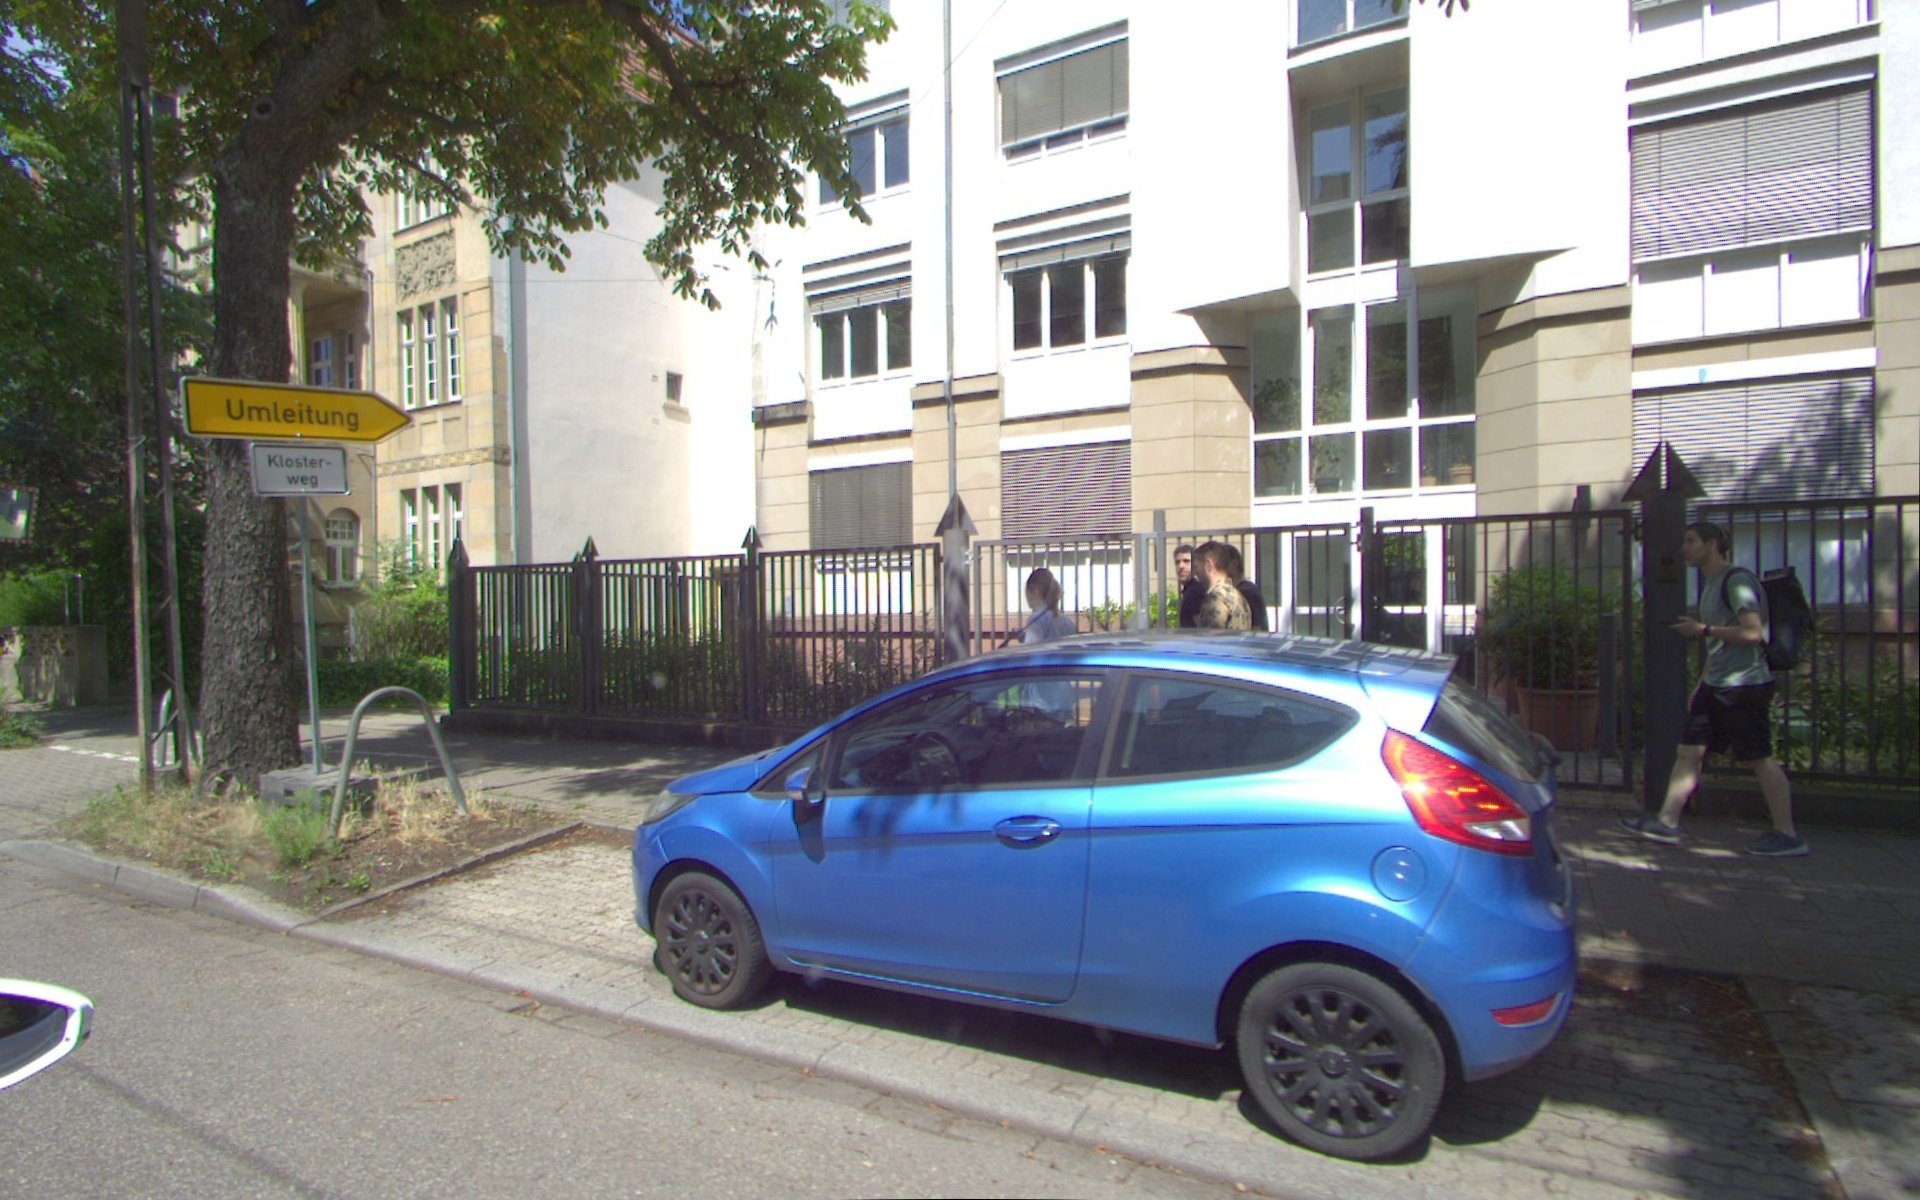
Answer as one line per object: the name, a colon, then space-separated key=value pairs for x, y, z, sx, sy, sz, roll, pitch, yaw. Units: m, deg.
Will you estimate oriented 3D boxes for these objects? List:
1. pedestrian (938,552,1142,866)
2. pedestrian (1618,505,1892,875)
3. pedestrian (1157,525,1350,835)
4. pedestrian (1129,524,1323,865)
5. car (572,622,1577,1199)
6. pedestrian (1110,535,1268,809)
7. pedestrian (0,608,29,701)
pedestrian: x=0.481 y=0.589 z=5.912 sx=0.959 sy=1.673 sz=0.765 roll=0 pitch=0 yaw=31
pedestrian: x=4.285 y=0.451 z=5.492 sx=1.067 sy=1.821 sz=0.683 roll=0 pitch=0 yaw=29
pedestrian: x=1.877 y=0.471 z=6.369 sx=1.036 sy=1.785 sz=0.787 roll=0 pitch=0 yaw=29
pedestrian: x=1.558 y=0.507 z=5.837 sx=0.933 sy=1.800 sz=0.703 roll=0 pitch=0 yaw=31
car: x=0.340 y=0.837 z=4.149 sx=3.664 sy=1.462 sz=1.676 roll=-1 pitch=0 yaw=29
pedestrian: x=1.659 y=0.490 z=7.223 sx=0.962 sy=1.835 sz=0.660 roll=0 pitch=0 yaw=29
pedestrian: x=-17.620 y=0.994 z=18.224 sx=0.826 sy=1.667 sz=0.853 roll=-1 pitch=0 yaw=38
